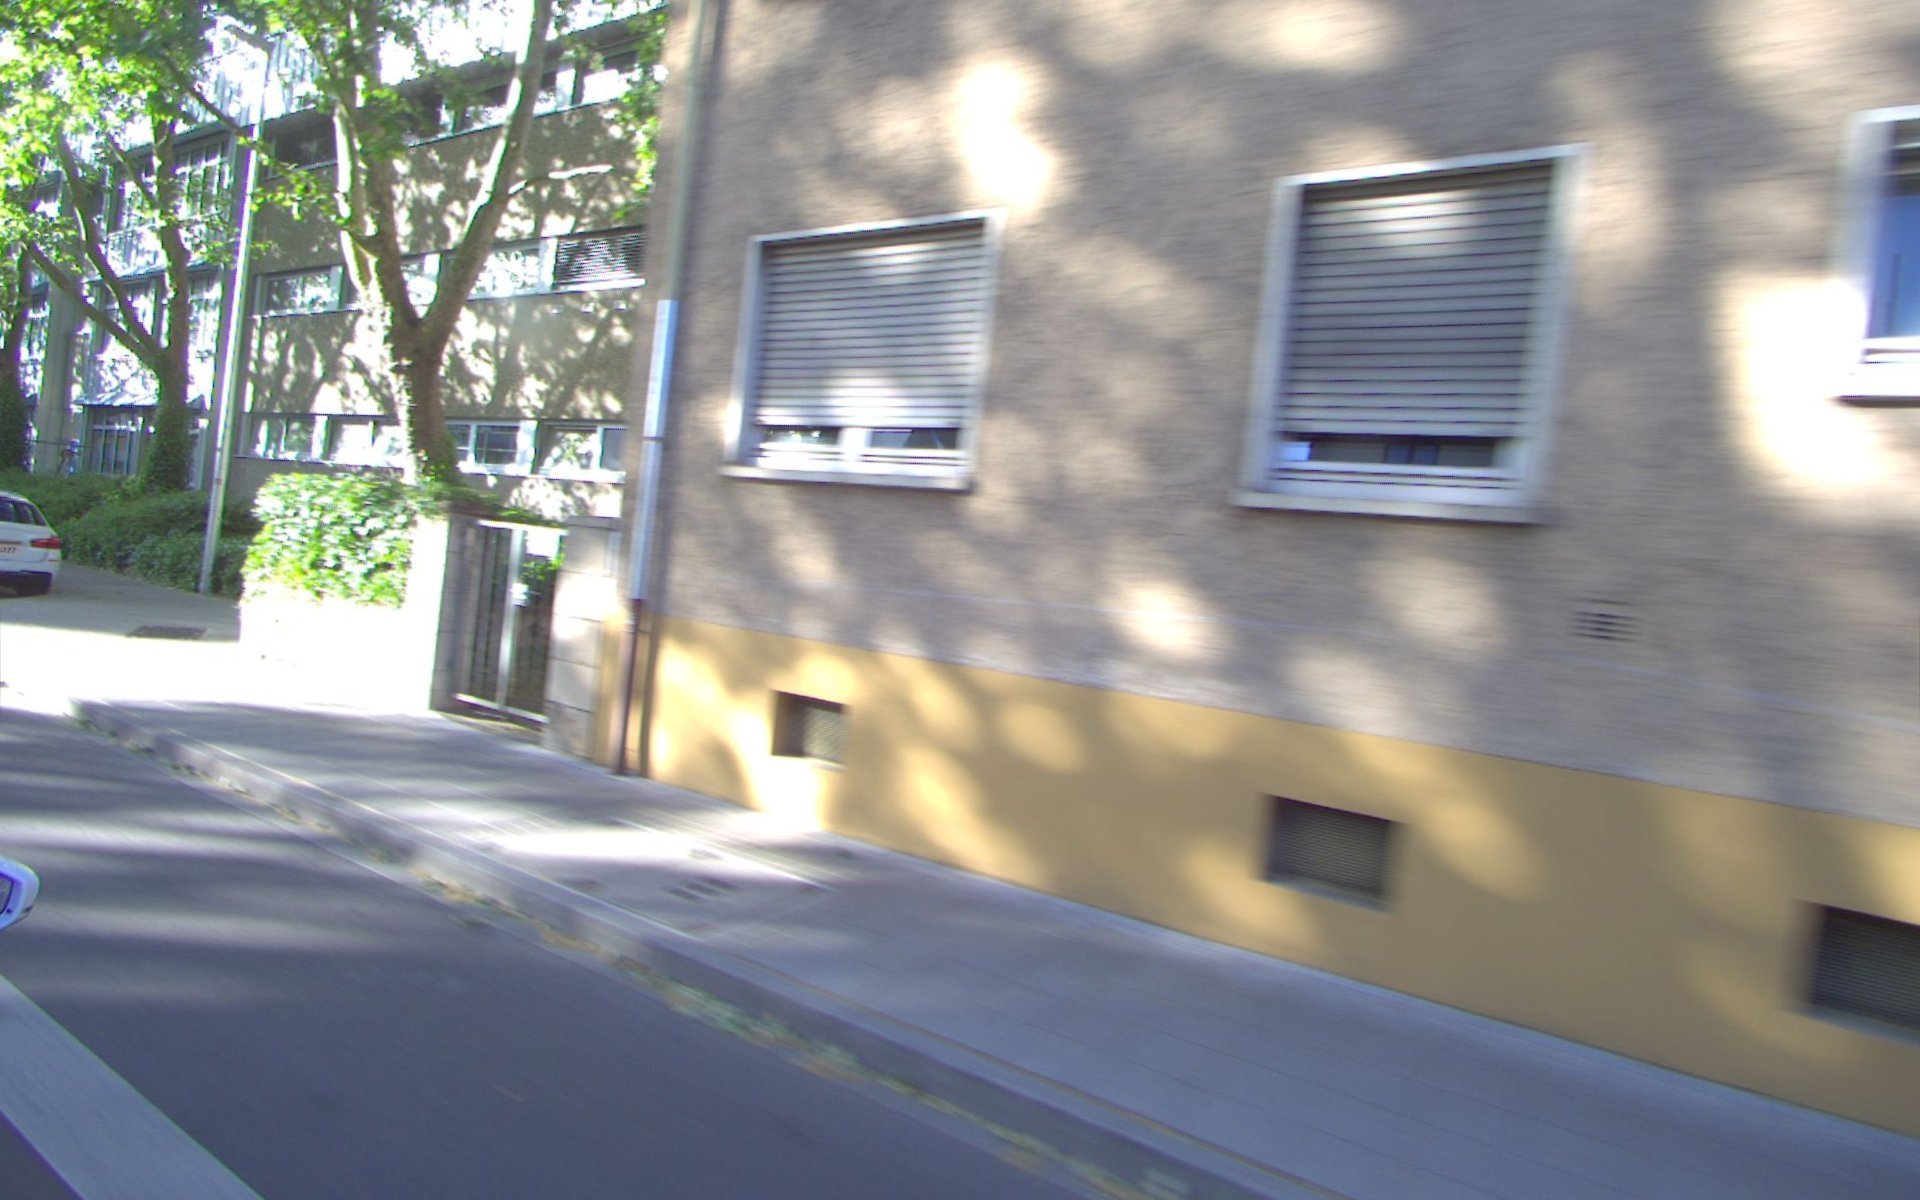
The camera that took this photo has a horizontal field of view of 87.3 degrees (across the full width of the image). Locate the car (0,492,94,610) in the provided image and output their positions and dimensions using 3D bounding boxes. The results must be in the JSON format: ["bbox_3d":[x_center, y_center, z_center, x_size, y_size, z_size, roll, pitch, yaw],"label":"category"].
[{"bbox_3d":[-14.550,-0.918,14.175,4.884,1.454,1.859,7,0,28],"label":"car"}]
